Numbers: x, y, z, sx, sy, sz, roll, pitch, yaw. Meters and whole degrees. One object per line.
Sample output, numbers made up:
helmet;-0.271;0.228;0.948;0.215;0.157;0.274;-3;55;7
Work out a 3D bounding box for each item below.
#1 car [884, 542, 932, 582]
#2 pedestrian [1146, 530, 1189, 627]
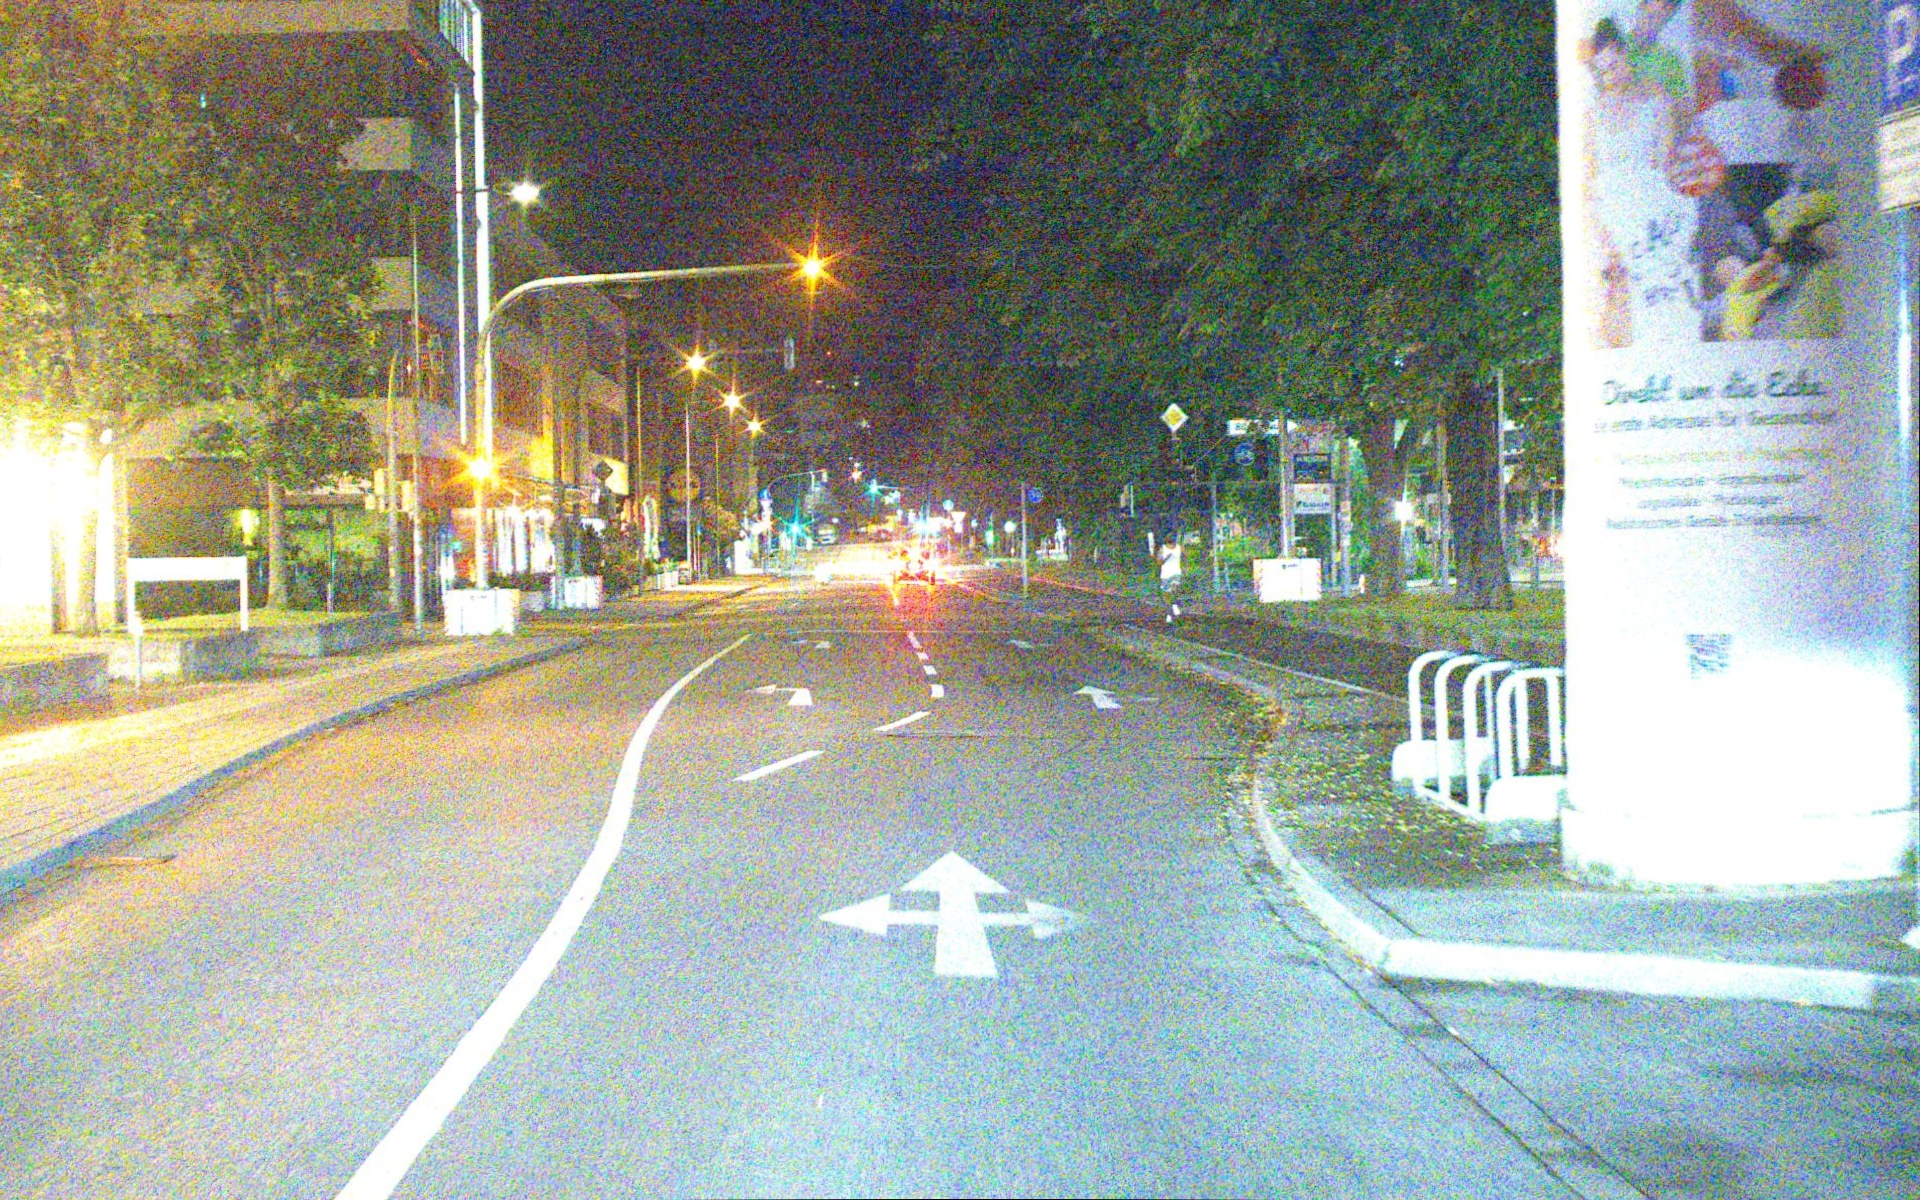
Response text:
car;-2.281;-1.679;149.700;1.993;1.637;4.000;-2;1;-2
pedestrian;3.972;-0.421;65.927;0.703;1.812;1.082;-2;1;-1
